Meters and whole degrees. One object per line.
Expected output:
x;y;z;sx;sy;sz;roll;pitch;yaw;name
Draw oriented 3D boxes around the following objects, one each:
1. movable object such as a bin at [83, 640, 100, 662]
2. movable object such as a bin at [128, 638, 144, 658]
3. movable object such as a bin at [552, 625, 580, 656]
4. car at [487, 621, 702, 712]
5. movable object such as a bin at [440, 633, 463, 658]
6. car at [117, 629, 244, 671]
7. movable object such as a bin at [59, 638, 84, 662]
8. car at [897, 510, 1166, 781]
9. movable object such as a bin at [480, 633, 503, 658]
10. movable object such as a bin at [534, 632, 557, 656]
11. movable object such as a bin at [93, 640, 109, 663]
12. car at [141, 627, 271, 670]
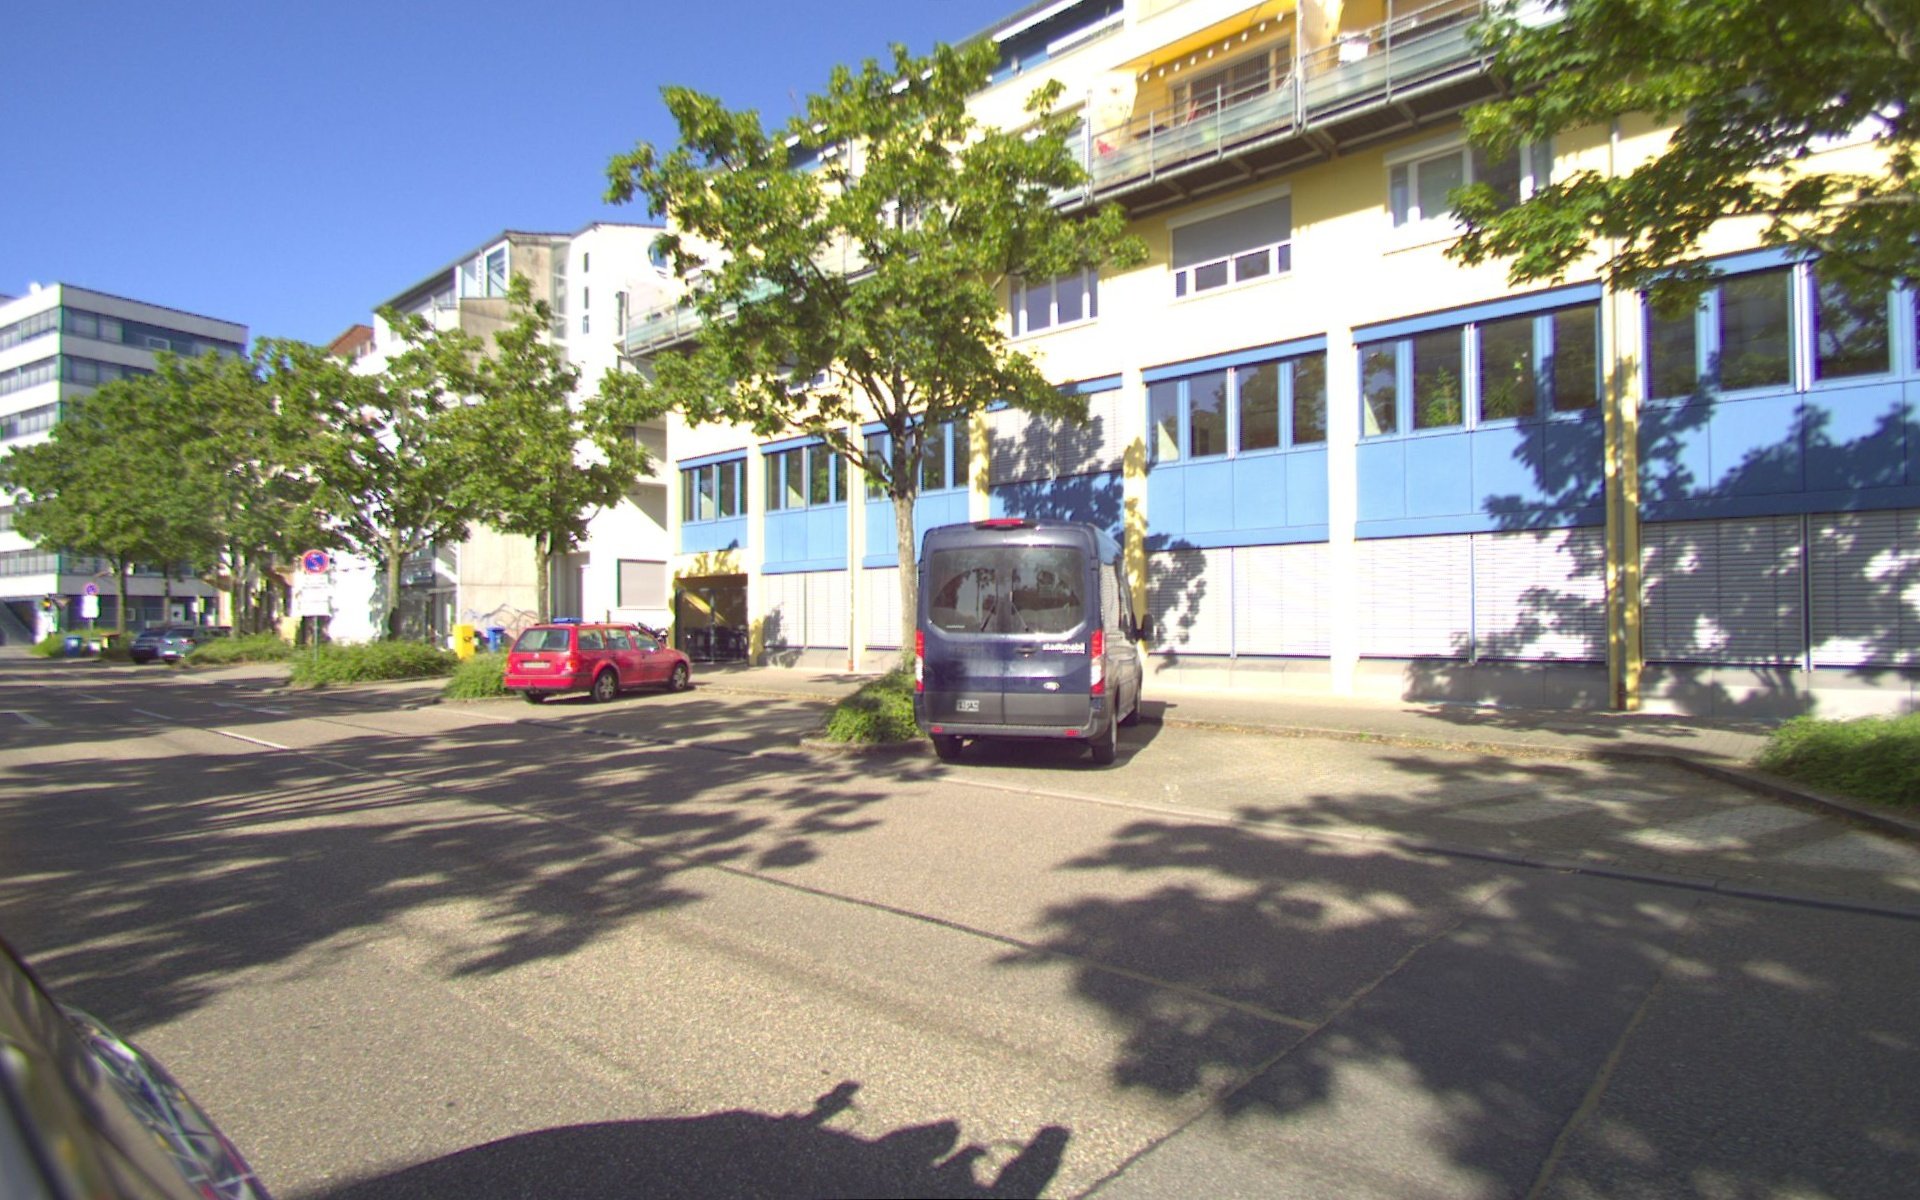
-40.847;2.399;47.612;0.469;0.967;0.544;-1;0;-24;movable object such as a bin
-40.587;2.355;49.853;0.469;0.951;0.544;1;-2;-24;movable object such as a bin
-16.622;1.695;42.699;1.119;1.289;0.614;-2;-2;37;movable object such as a bin
-6.894;1.206;19.583;1.755;1.487;4.211;-2;-1;17;car
-19.731;1.757;39.279;0.574;0.935;0.614;-2;-2;36;movable object such as a bin
-31.394;1.987;40.918;1.789;1.475;3.991;-1;0;7;car
-41.556;2.334;47.352;0.664;1.082;0.805;1;-2;-24;movable object such as a bin
1.168;0.461;12.133;2.166;2.455;5.478;-2;-1;15;car
-18.758;1.802;40.535;0.574;0.980;0.614;-1;-2;36;movable object such as a bin
-17.238;1.820;42.079;0.689;0.980;0.614;-2;-2;37;movable object such as a bin
-41.180;2.454;48.512;0.469;1.048;0.544;-1;0;-24;movable object such as a bin
-29.064;1.840;39.189;1.789;1.475;3.991;-1;0;7;car
